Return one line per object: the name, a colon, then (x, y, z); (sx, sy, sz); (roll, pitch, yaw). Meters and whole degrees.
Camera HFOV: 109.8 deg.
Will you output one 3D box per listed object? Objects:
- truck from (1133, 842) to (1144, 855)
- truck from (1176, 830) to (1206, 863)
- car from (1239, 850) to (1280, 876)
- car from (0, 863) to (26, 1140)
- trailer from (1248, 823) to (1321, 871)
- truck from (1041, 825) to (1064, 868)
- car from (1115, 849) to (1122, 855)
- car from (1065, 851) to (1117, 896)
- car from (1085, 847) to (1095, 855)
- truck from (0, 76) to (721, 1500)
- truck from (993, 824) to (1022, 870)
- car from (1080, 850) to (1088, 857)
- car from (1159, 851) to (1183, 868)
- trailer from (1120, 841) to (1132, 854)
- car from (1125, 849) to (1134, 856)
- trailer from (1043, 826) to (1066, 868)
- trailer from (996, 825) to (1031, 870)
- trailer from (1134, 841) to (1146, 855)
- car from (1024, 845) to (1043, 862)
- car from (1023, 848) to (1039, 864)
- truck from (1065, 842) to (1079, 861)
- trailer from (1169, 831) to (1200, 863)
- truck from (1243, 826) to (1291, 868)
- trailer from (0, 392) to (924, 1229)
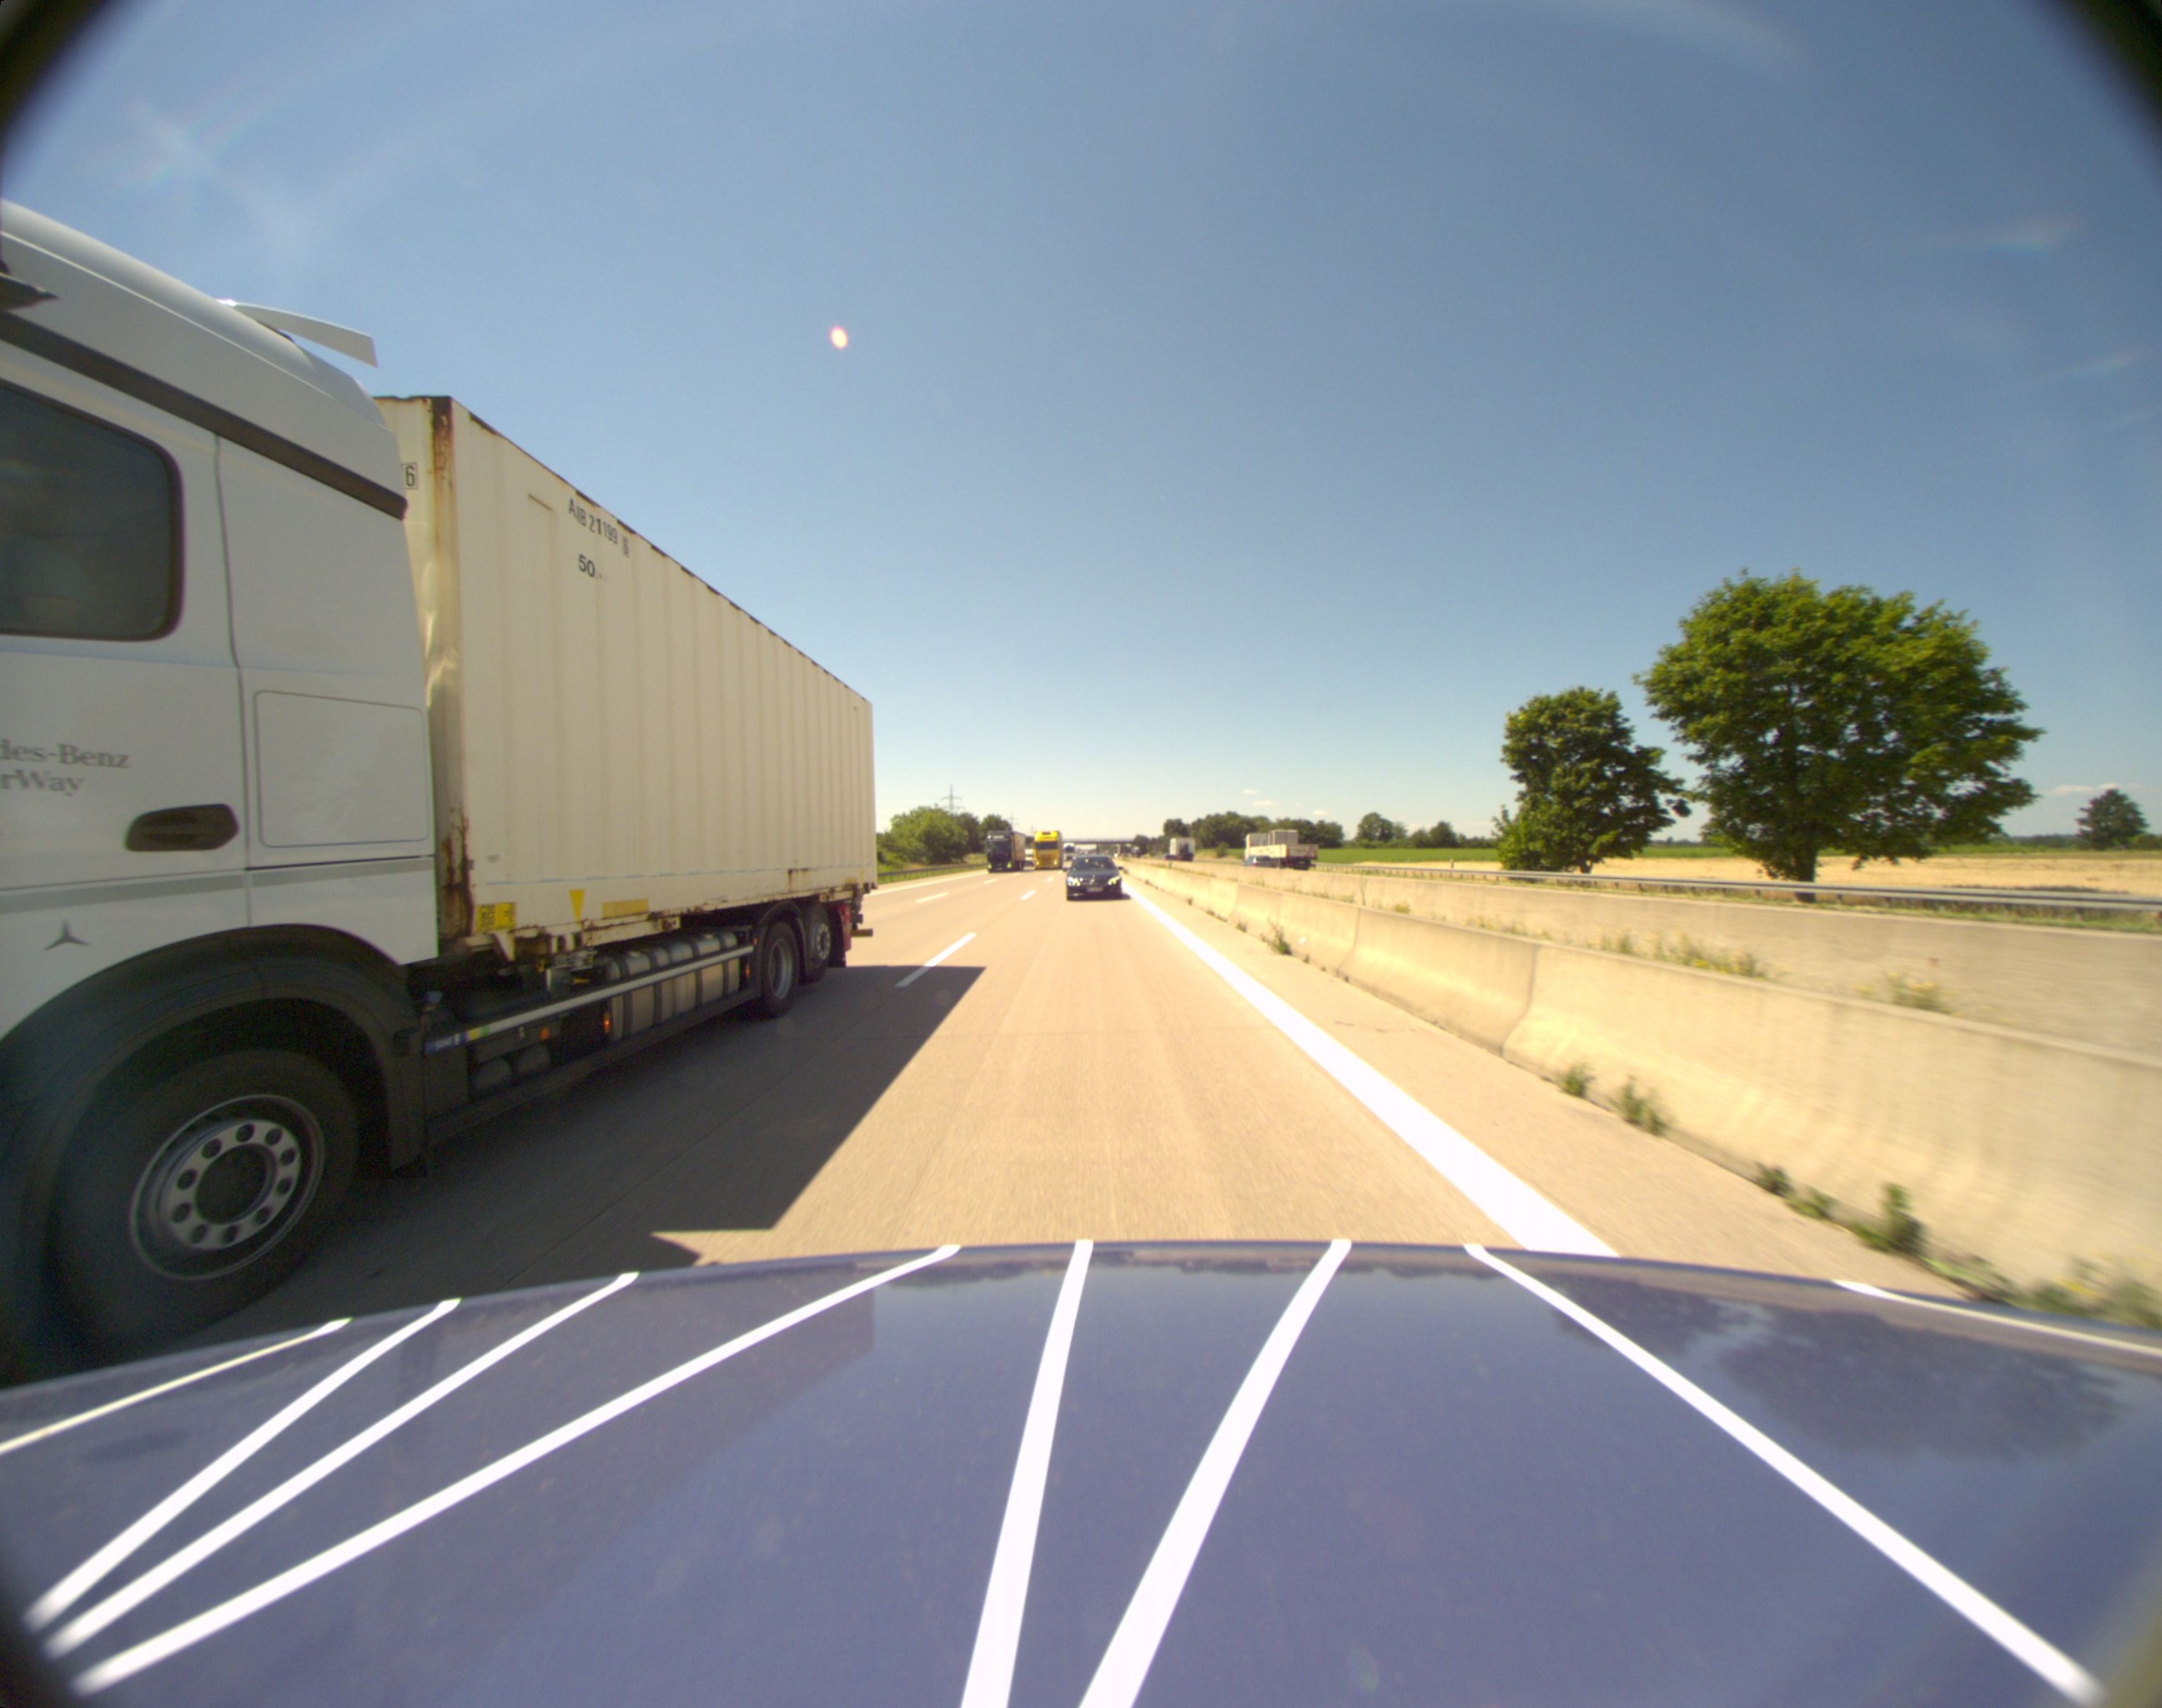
truck: (20.120, -1.967, 266.160); (3.240, 4.580, 6.250); (-2, 1, 0)
truck: (13.908, -0.885, 96.175); (2.908, 3.947, 5.045); (-2, 1, 0)
car: (12.895, 0.633, 55.132); (1.968, 1.707, 5.127); (-2, 0, 3)
car: (-8.026, 0.996, 3.002); (1.998, 1.772, 4.000); (-2, 0, 3)
trailer: (17.525, -0.601, 66.662); (2.810, 3.662, 13.748); (-2, 0, 1)
truck: (-2.878, -0.768, 78.306); (1.998, 4.230, 5.194); (-2, 1, 0)
car: (11.127, -0.566, 227.359); (1.887, 1.685, 4.682); (-2, 0, 0)
car: (0.382, 0.700, 29.794); (1.848, 1.576, 3.940); (-2, 0, 1)
car: (1.970, -0.638, 163.507); (1.998, 1.781, 4.301); (-2, 0, 1)
truck: (-4.214, -0.185, 3.495); (2.587, 3.855, 4.983); (-2, 1, 0)
truck: (-6.996, -0.622, 72.795); (1.998, 4.168, 5.705); (-2, 1, 1)
car: (0.750, -0.252, 217.333); (1.999, 1.827, 4.815); (-2, 0, -2)
car: (9.886, 0.578, 83.851); (1.998, 1.707, 5.024); (-2, 0, 1)
trailer: (16.000, -2.250, 270.979); (3.276, 4.450, 14.450); (0, 0, 0)
car: (11.496, -0.403, 180.337); (1.868, 1.719, 4.140); (-2, 0, 2)
trailer: (-2.858, -0.743, 85.448); (1.998, 4.230, 15.198); (-2, 0, 0)
trailer: (-6.919, -0.666, 79.828); (1.998, 4.168, 14.745); (-2, 0, 1)
trailer: (20.077, -2.145, 259.957); (3.240, 4.580, 12.292); (-2, 0, 1)
car: (-6.721, -0.097, 108.362); (2.139, 2.334, 5.515); (-2, 0, 1)
car: (-6.770, 0.270, 103.684); (1.788, 2.002, 3.819); (-2, 0, 1)
truck: (-2.022, -0.542, 174.675); (2.960, 4.122, 6.151); (-2, 1, 1)
trailer: (13.970, -0.938, 103.053); (2.908, 3.947, 8.476); (-2, 0, 0)
truck: (17.601, -0.670, 72.482); (2.810, 3.666, 7.235); (-2, 0, 1)
trailer: (-4.242, -0.215, 8.764); (2.587, 3.855, 10.371); (-2, 0, 0)
